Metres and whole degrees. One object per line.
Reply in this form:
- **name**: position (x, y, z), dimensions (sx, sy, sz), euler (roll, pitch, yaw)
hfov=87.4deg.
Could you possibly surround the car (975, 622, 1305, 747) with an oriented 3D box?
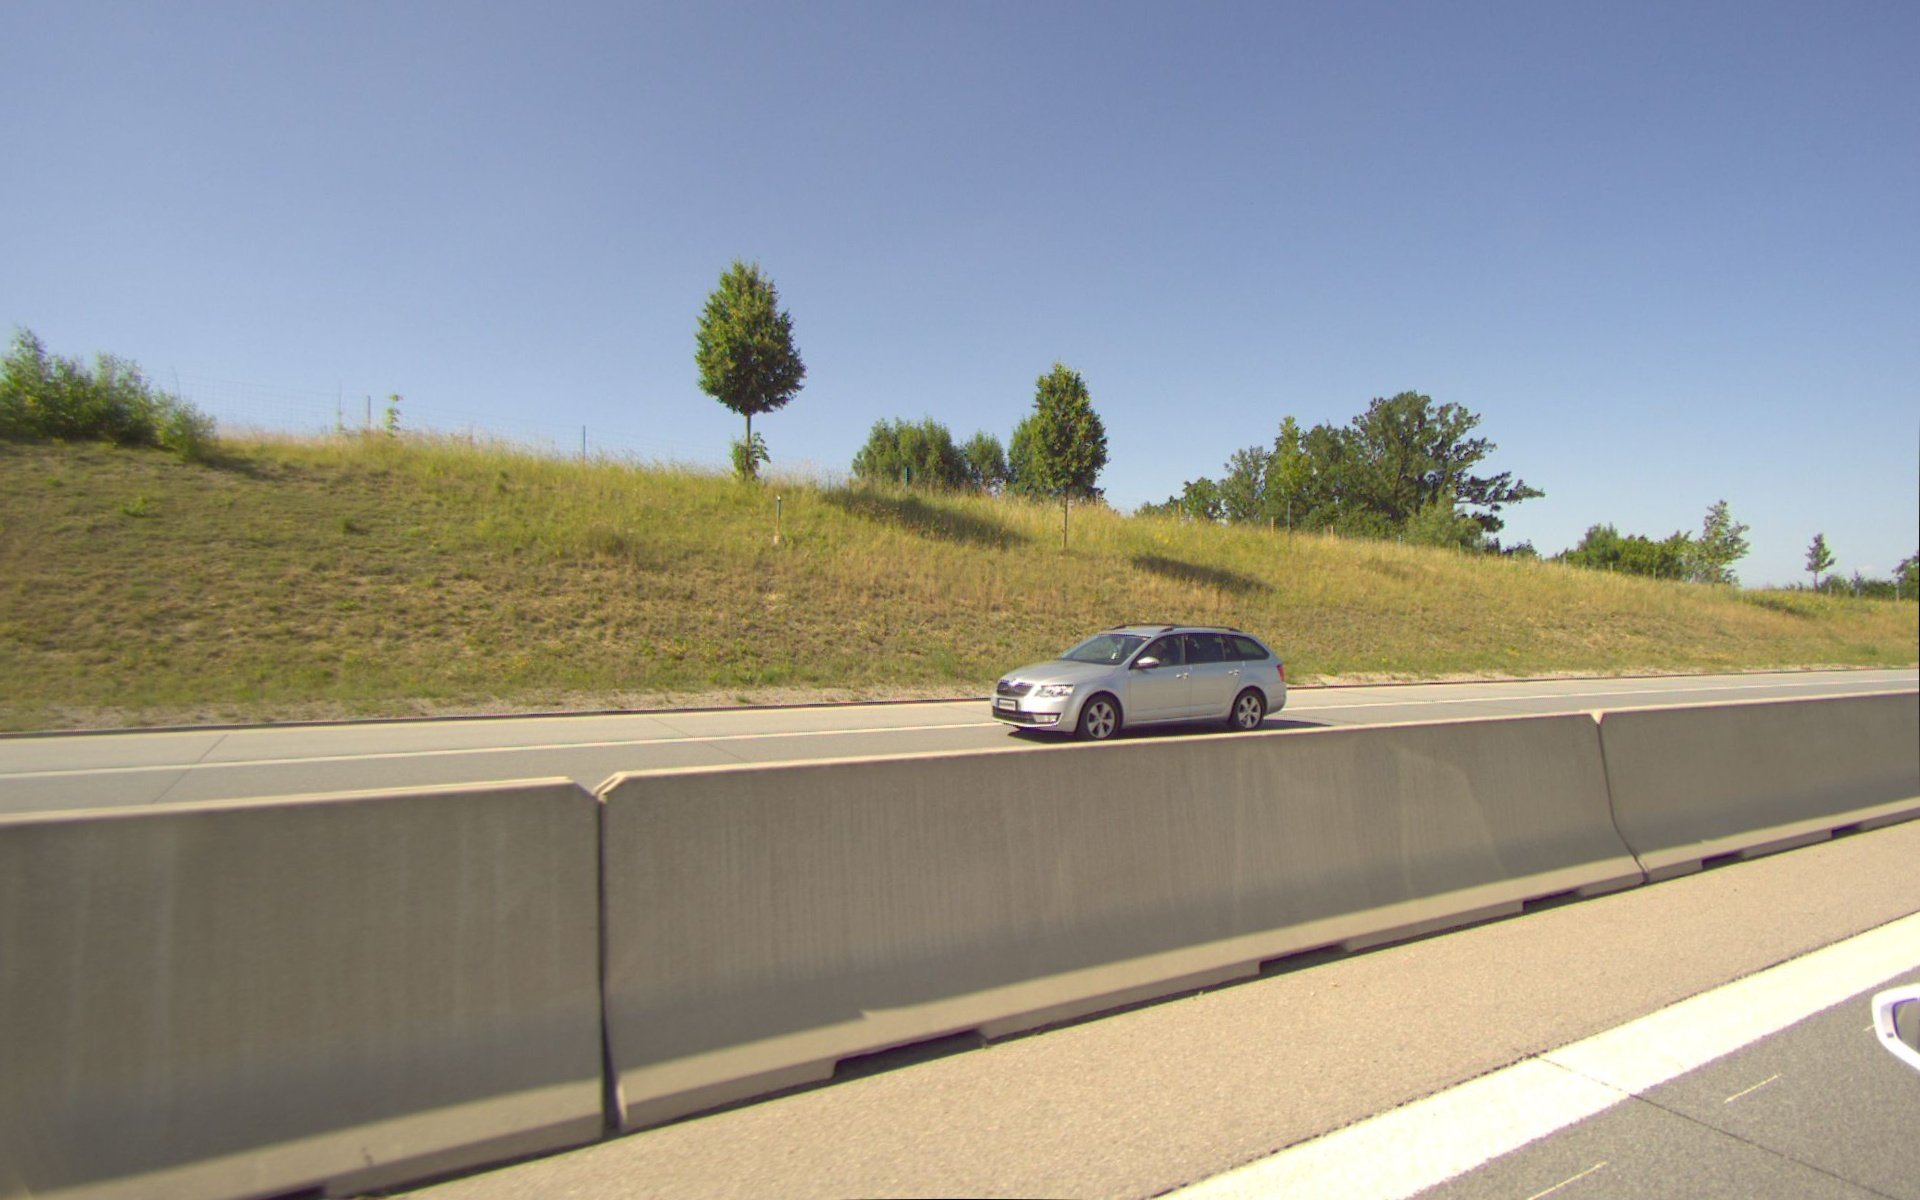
- **car**: position (2.574, 1.078, 14.027), dimensions (4.474, 1.490, 1.795), euler (1, -1, -31)
